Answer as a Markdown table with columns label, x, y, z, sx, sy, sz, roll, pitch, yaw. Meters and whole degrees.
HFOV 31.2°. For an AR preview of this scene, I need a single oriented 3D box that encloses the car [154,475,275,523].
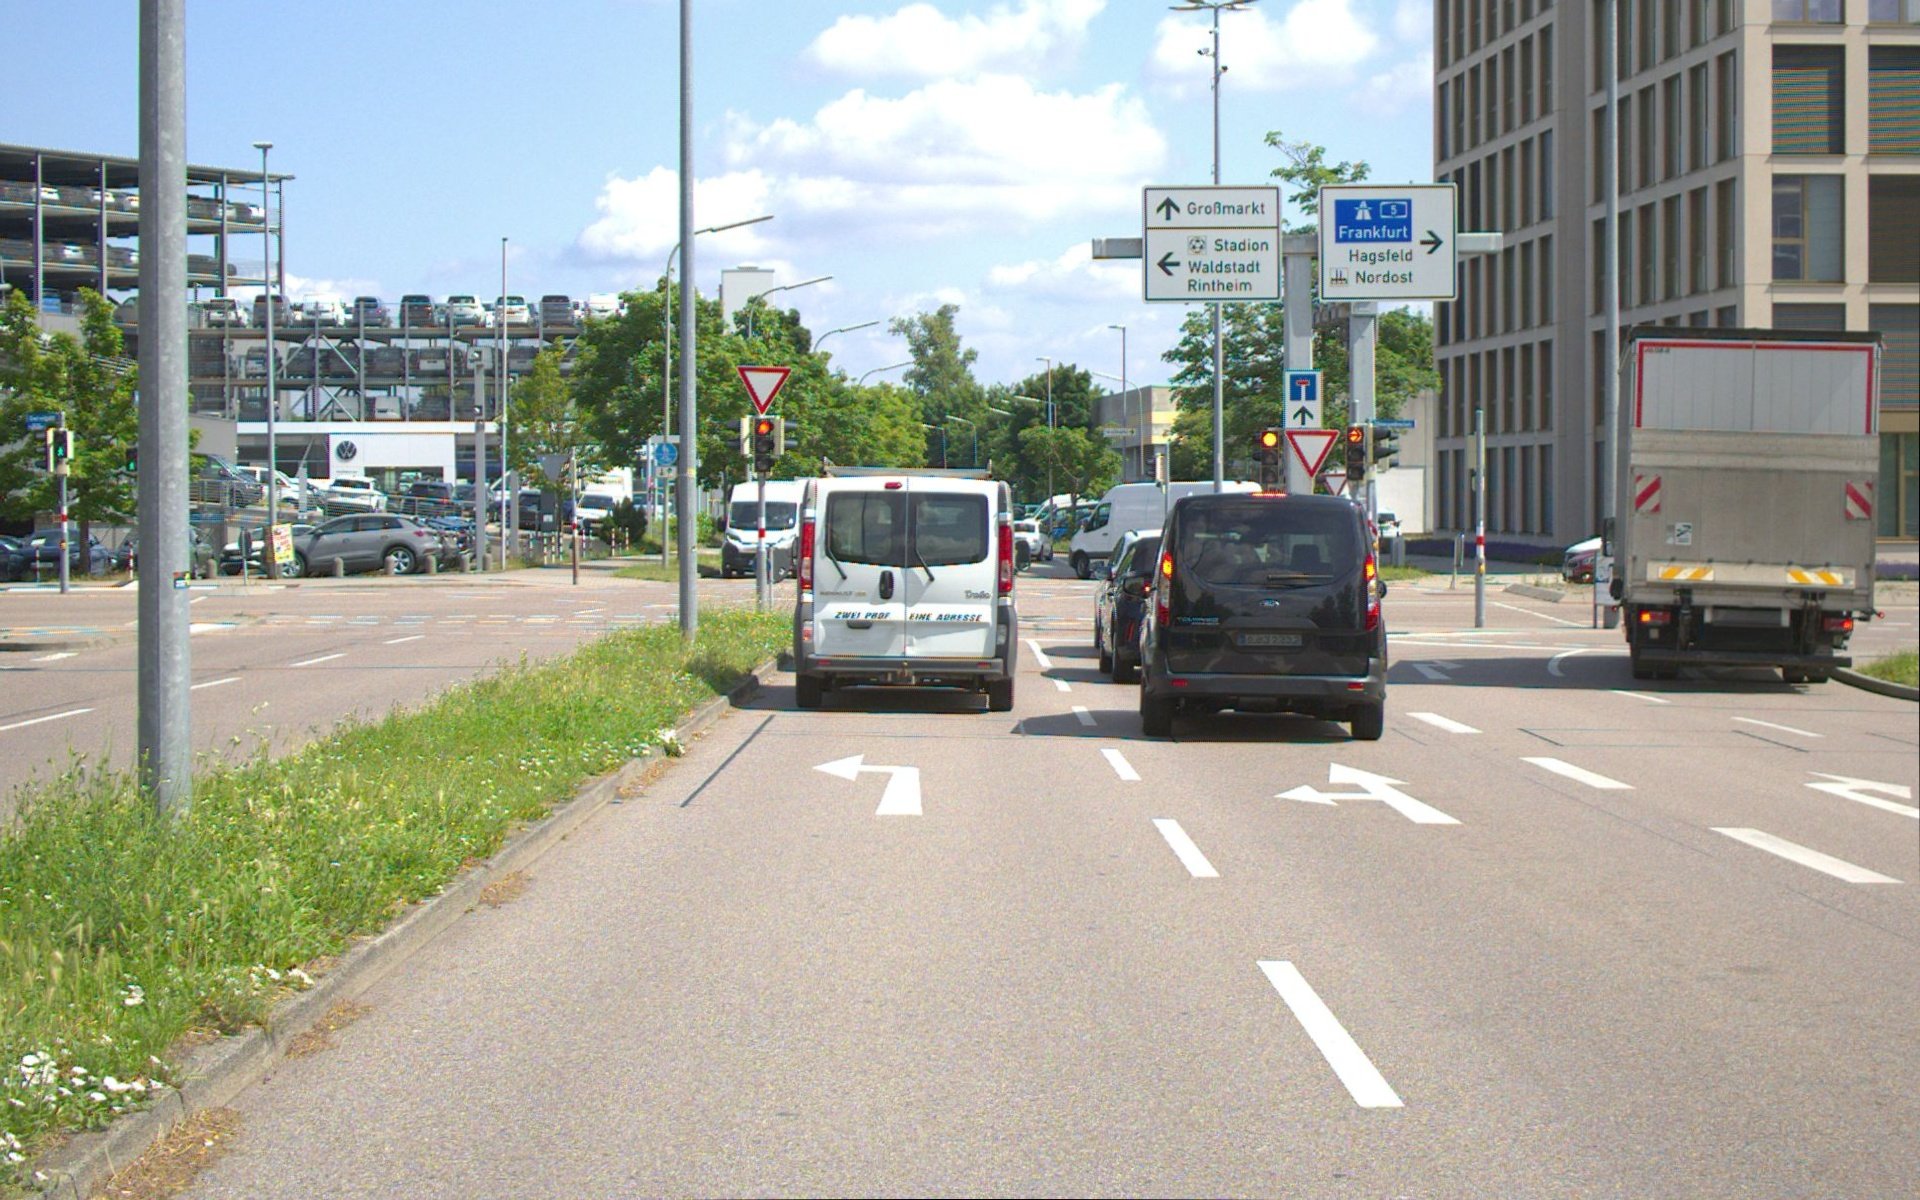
| label | x | y | z | sx | sy | sz | roll | pitch | yaw |
| --- | --- | --- | --- | --- | --- | --- | --- | --- | --- |
| car | -27.616 | -3.727 | 127.427 | 4.164 | 1.707 | 1.689 | 1 | 1 | -6 |

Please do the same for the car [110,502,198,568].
| label | x | y | z | sx | sy | sz | roll | pitch | yaw |
| --- | --- | --- | --- | --- | --- | --- | --- | --- | --- |
| car | -19.637 | -1.582 | 83.648 | 1.816 | 1.546 | 4.001 | 1 | 1 | -17 |

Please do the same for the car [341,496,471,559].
| label | x | y | z | sx | sy | sz | roll | pitch | yaw |
| --- | --- | --- | --- | --- | --- | --- | --- | --- | --- |
| car | -15.821 | -2.071 | 98.278 | 3.507 | 1.707 | 1.604 | -1 | 2 | -4 |

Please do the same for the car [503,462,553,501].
| label | x | y | z | sx | sy | sz | roll | pitch | yaw |
| --- | --- | --- | --- | --- | --- | --- | --- | --- | --- |
| car | -17.625 | -4.847 | 140.472 | 1.846 | 1.524 | 4.001 | 1 | 2 | -5 |

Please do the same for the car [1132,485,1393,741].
| label | x | y | z | sx | sy | sz | roll | pitch | yaw |
| --- | --- | --- | --- | --- | --- | --- | --- | --- | --- |
| car | 2.280 | 0.051 | 26.813 | 1.820 | 1.802 | 4.000 | 2 | 1 | 3 |

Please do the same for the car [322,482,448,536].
| label | x | y | z | sx | sy | sz | roll | pitch | yaw |
| --- | --- | --- | --- | --- | --- | --- | --- | --- | --- |
| car | -19.886 | -3.164 | 119.077 | 4.164 | 1.707 | 1.689 | 2 | 2 | -6 |

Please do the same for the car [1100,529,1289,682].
| label | x | y | z | sx | sy | sz | roll | pitch | yaw |
| --- | --- | --- | --- | --- | --- | --- | --- | --- | --- |
| car | 2.427 | 0.027 | 36.417 | 1.740 | 1.490 | 4.000 | 1 | 1 | 1 |

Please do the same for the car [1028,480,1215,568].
| label | x | y | z | sx | sy | sz | roll | pitch | yaw |
| --- | --- | --- | --- | --- | --- | --- | --- | --- | --- |
| car | 4.265 | -2.051 | 91.914 | 1.994 | 2.247 | 5.514 | -1 | 2 | -35 |

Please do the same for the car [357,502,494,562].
| label | x | y | z | sx | sy | sz | roll | pitch | yaw |
| --- | --- | --- | --- | --- | --- | --- | --- | --- | --- |
| car | -16.157 | -2.075 | 104.010 | 3.912 | 1.707 | 1.689 | -1 | 2 | -4 |

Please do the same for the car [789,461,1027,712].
| label | x | y | z | sx | sy | sz | roll | pitch | yaw |
| --- | --- | --- | --- | --- | --- | --- | --- | --- | --- |
| car | -0.390 | -0.145 | 30.118 | 1.856 | 2.011 | 4.000 | 1 | 1 | 2 |

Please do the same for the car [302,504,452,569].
| label | x | y | z | sx | sy | sz | roll | pitch | yaw |
| --- | --- | --- | --- | --- | --- | --- | --- | --- | --- |
| car | -16.149 | -1.769 | 95.420 | 3.912 | 1.707 | 1.689 | -1 | 2 | -4 |

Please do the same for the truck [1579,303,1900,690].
| label | x | y | z | sx | sy | sz | roll | pitch | yaw |
| --- | --- | --- | --- | --- | --- | --- | --- | --- | --- |
| truck | 8.878 | -1.162 | 39.644 | 3.131 | 3.927 | 8.854 | 1 | 1 | 12 |

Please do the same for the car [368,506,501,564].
| label | x | y | z | sx | sy | sz | roll | pitch | yaw |
| --- | --- | --- | --- | --- | --- | --- | --- | --- | --- |
| car | -16.243 | -2.019 | 106.395 | 3.912 | 1.707 | 1.689 | -1 | 2 | -4 |

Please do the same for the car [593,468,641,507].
| label | x | y | z | sx | sy | sz | roll | pitch | yaw |
| --- | --- | --- | --- | --- | --- | --- | --- | --- | --- |
| car | -14.045 | -4.611 | 140.835 | 1.846 | 1.524 | 4.001 | 1 | 2 | -5 |

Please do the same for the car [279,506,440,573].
| label | x | y | z | sx | sy | sz | roll | pitch | yaw |
| --- | --- | --- | --- | --- | --- | --- | --- | --- | --- |
| car | -15.421 | -1.565 | 88.444 | 3.861 | 1.634 | 1.858 | -1 | 2 | -4 |

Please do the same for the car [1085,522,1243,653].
| label | x | y | z | sx | sy | sz | roll | pitch | yaw |
| --- | --- | --- | --- | --- | --- | --- | --- | --- | --- |
| car | 2.519 | -0.178 | 43.214 | 1.740 | 1.538 | 4.000 | 1 | 1 | 1 |

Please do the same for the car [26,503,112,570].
| label | x | y | z | sx | sy | sz | roll | pitch | yaw |
| --- | --- | --- | --- | --- | --- | --- | --- | --- | --- |
| car | -21.493 | -1.533 | 82.829 | 1.816 | 1.546 | 4.001 | 1 | 1 | -17 |

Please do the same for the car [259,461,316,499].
| label | x | y | z | sx | sy | sz | roll | pitch | yaw |
| --- | --- | --- | --- | --- | --- | --- | --- | --- | --- |
| car | -27.738 | -4.940 | 141.913 | 1.846 | 1.524 | 4.001 | 1 | 2 | -5 |

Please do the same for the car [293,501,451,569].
| label | x | y | z | sx | sy | sz | roll | pitch | yaw |
| --- | --- | --- | --- | --- | --- | --- | --- | --- | --- |
| car | -15.515 | -1.733 | 90.845 | 3.912 | 1.707 | 1.689 | -1 | 2 | -4 |

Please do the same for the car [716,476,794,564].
| label | x | y | z | sx | sy | sz | roll | pitch | yaw |
| --- | --- | --- | --- | --- | --- | --- | --- | --- | --- |
| car | -5.459 | -2.151 | 91.112 | 1.971 | 2.248 | 4.982 | -1 | 2 | -4 |

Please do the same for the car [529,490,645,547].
| label | x | y | z | sx | sy | sz | roll | pitch | yaw |
| --- | --- | --- | --- | --- | --- | --- | --- | --- | --- |
| car | -13.000 | -2.830 | 119.837 | 3.986 | 1.919 | 1.827 | 1 | 1 | -6 |

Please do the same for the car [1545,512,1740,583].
| label | x | y | z | sx | sy | sz | roll | pitch | yaw |
| --- | --- | --- | --- | --- | --- | --- | --- | --- | --- |
| car | 14.995 | -1.161 | 75.634 | 3.893 | 1.485 | 1.795 | 1 | 2 | -1 |
